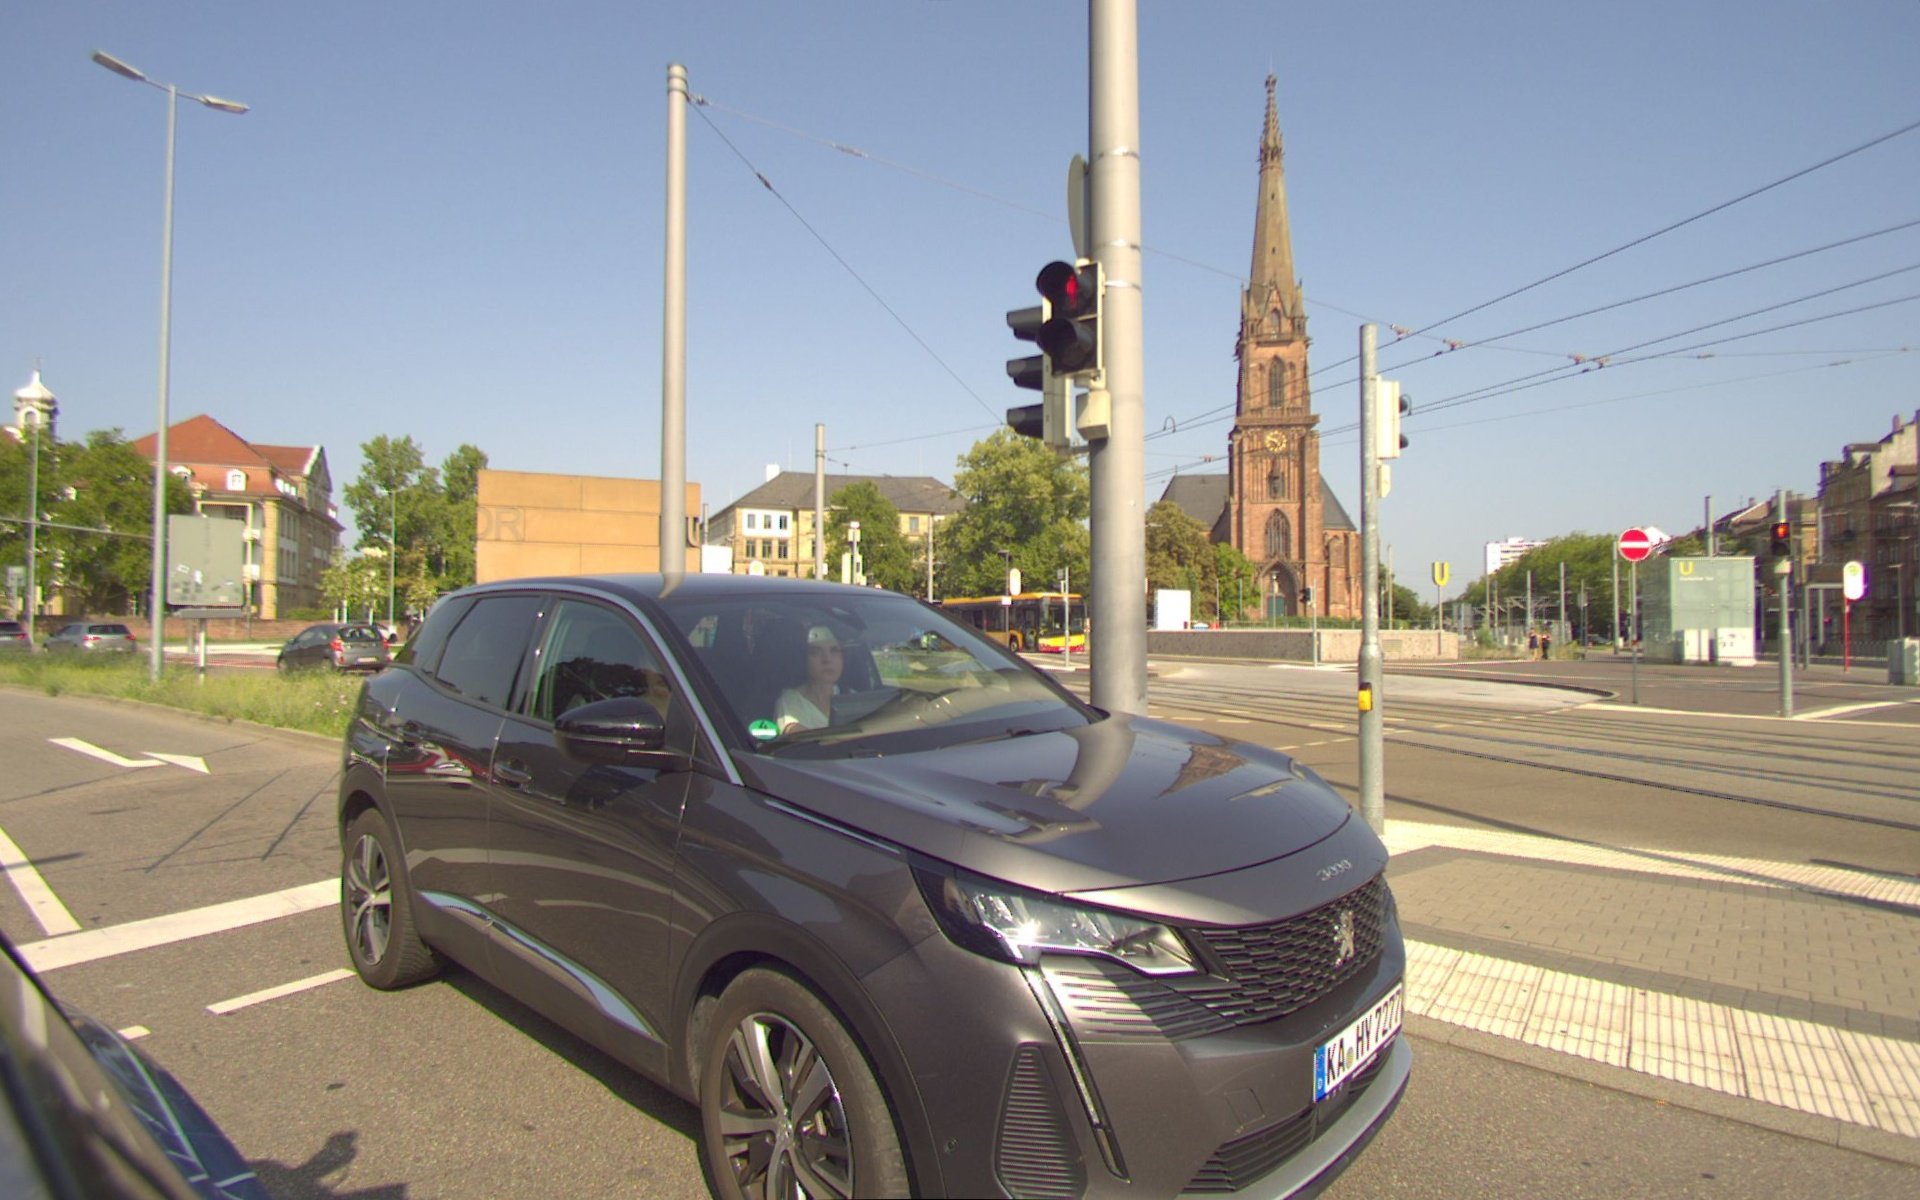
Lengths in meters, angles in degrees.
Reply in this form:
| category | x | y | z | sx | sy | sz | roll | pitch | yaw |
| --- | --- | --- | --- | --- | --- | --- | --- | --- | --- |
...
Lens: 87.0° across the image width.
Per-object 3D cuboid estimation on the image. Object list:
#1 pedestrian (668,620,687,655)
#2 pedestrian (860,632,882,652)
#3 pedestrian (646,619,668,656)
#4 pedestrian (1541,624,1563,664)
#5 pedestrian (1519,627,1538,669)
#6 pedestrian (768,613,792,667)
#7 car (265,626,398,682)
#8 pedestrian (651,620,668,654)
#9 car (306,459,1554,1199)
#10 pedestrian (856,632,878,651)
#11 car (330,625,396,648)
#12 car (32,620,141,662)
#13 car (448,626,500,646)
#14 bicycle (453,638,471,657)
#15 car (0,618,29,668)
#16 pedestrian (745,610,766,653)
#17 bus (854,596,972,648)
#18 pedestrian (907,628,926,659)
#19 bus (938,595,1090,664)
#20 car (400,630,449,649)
| category | x | y | z | sx | sy | sz | roll | pitch | yaw |
| --- | --- | --- | --- | --- | --- | --- | --- | --- | --- |
| pedestrian | -13.380 | 1.779 | 47.952 | 0.707 | 1.642 | 0.859 | 1 | -2 | -25 |
| pedestrian | -5.128 | 2.410 | 58.230 | 1.013 | 1.142 | 0.740 | 1 | -2 | -31 |
| pedestrian | -14.484 | 1.786 | 48.364 | 0.851 | 1.718 | 0.734 | 1 | -2 | -27 |
| pedestrian | 26.341 | 1.957 | 45.058 | 0.751 | 1.796 | 0.699 | -2 | -2 | 36 |
| pedestrian | 25.580 | 2.142 | 45.516 | 0.651 | 1.880 | 0.713 | -2 | -2 | 36 |
| pedestrian | -6.134 | 1.363 | 34.524 | 0.689 | 1.814 | 0.782 | 1 | -2 | -19 |
| car | -17.650 | 1.466 | 28.394 | 3.666 | 1.463 | 1.872 | -1 | -2 | 35 |
| pedestrian | -15.342 | 1.879 | 51.617 | 0.707 | 1.751 | 0.859 | 1 | -2 | -25 |
| car | -0.640 | 0.626 | 3.486 | 4.372 | 1.503 | 1.664 | -2 | -3 | 43 |
| pedestrian | -5.430 | 2.412 | 59.050 | 1.013 | 1.142 | 0.740 | 1 | -2 | -31 |
| car | -45.089 | 2.760 | 76.519 | 1.978 | 1.646 | 4.359 | 0 | -2 | 9 |
| car | -31.880 | 1.472 | 36.913 | 4.210 | 1.444 | 1.800 | -1 | -2 | 32 |
| car | -42.717 | 3.178 | 89.090 | 1.978 | 1.646 | 4.359 | -1 | -2 | 10 |
| bicycle | -22.492 | 2.134 | 45.712 | 0.582 | 0.844 | 1.552 | -2 | -1 | -22 |
| car | -33.466 | 1.428 | 34.090 | 4.440 | 1.629 | 1.683 | -1 | -2 | 28 |
| pedestrian | -8.741 | 1.329 | 43.147 | 0.689 | 1.814 | 0.782 | 1 | -2 | -26 |
| bus | -3.326 | 1.454 | 64.783 | 3.242 | 3.000 | 12.838 | 1 | -2 | -23 |
| pedestrian | -2.517 | 2.487 | 58.137 | 0.816 | 1.752 | 0.838 | 1 | -2 | -24 |
| bus | 2.404 | 1.513 | 52.000 | 2.669 | 3.132 | 12.254 | 1 | -2 | -23 |
| car | -43.819 | 3.237 | 82.885 | 1.607 | 1.509 | 3.839 | 0 | -2 | 9 |
